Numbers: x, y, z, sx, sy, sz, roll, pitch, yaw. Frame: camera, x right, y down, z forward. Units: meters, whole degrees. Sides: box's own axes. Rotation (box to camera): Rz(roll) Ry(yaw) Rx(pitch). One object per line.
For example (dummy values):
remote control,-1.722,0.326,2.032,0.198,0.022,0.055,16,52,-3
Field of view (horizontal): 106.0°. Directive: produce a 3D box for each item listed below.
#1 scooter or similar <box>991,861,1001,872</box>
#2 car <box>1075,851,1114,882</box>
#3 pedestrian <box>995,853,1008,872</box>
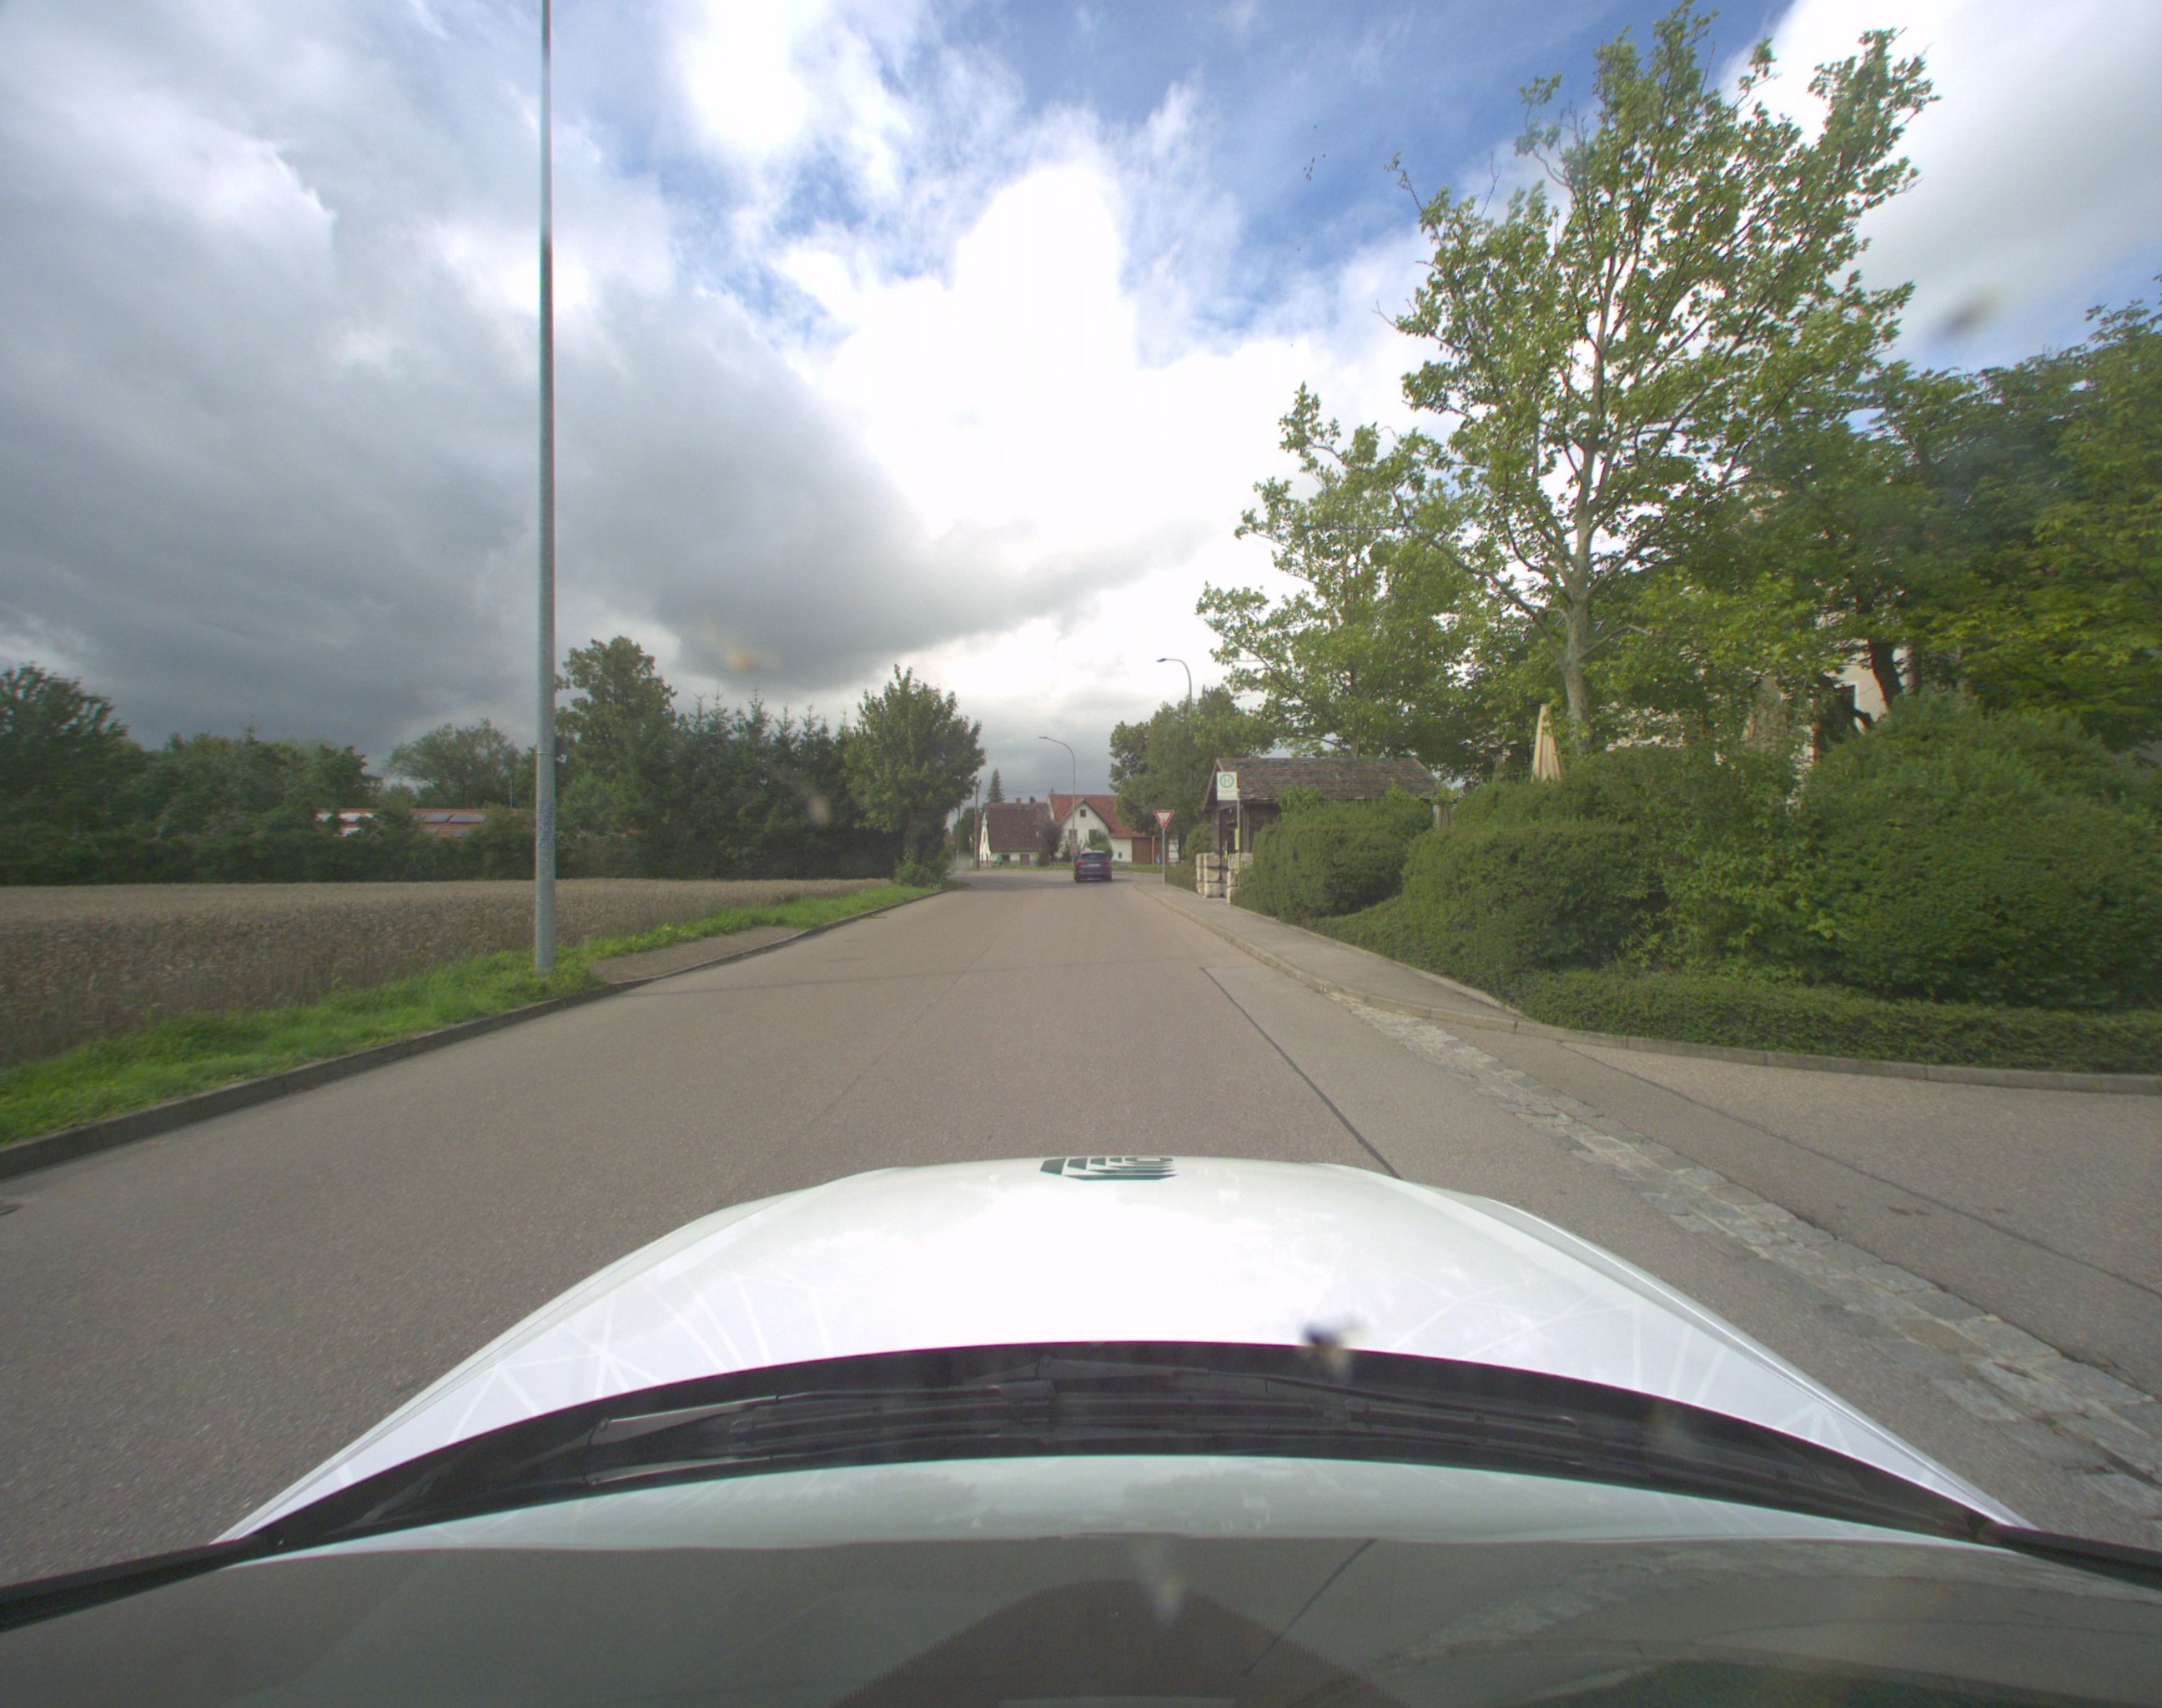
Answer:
scooter or similar,-7.771,1.146,74.230,0.635,0.948,0.616,5,-3,-33
car,0.657,0.590,41.395,1.794,1.462,3.659,-1,0,-2
pedestrian,-7.219,0.790,73.736,0.794,1.665,0.705,5,-3,-33
